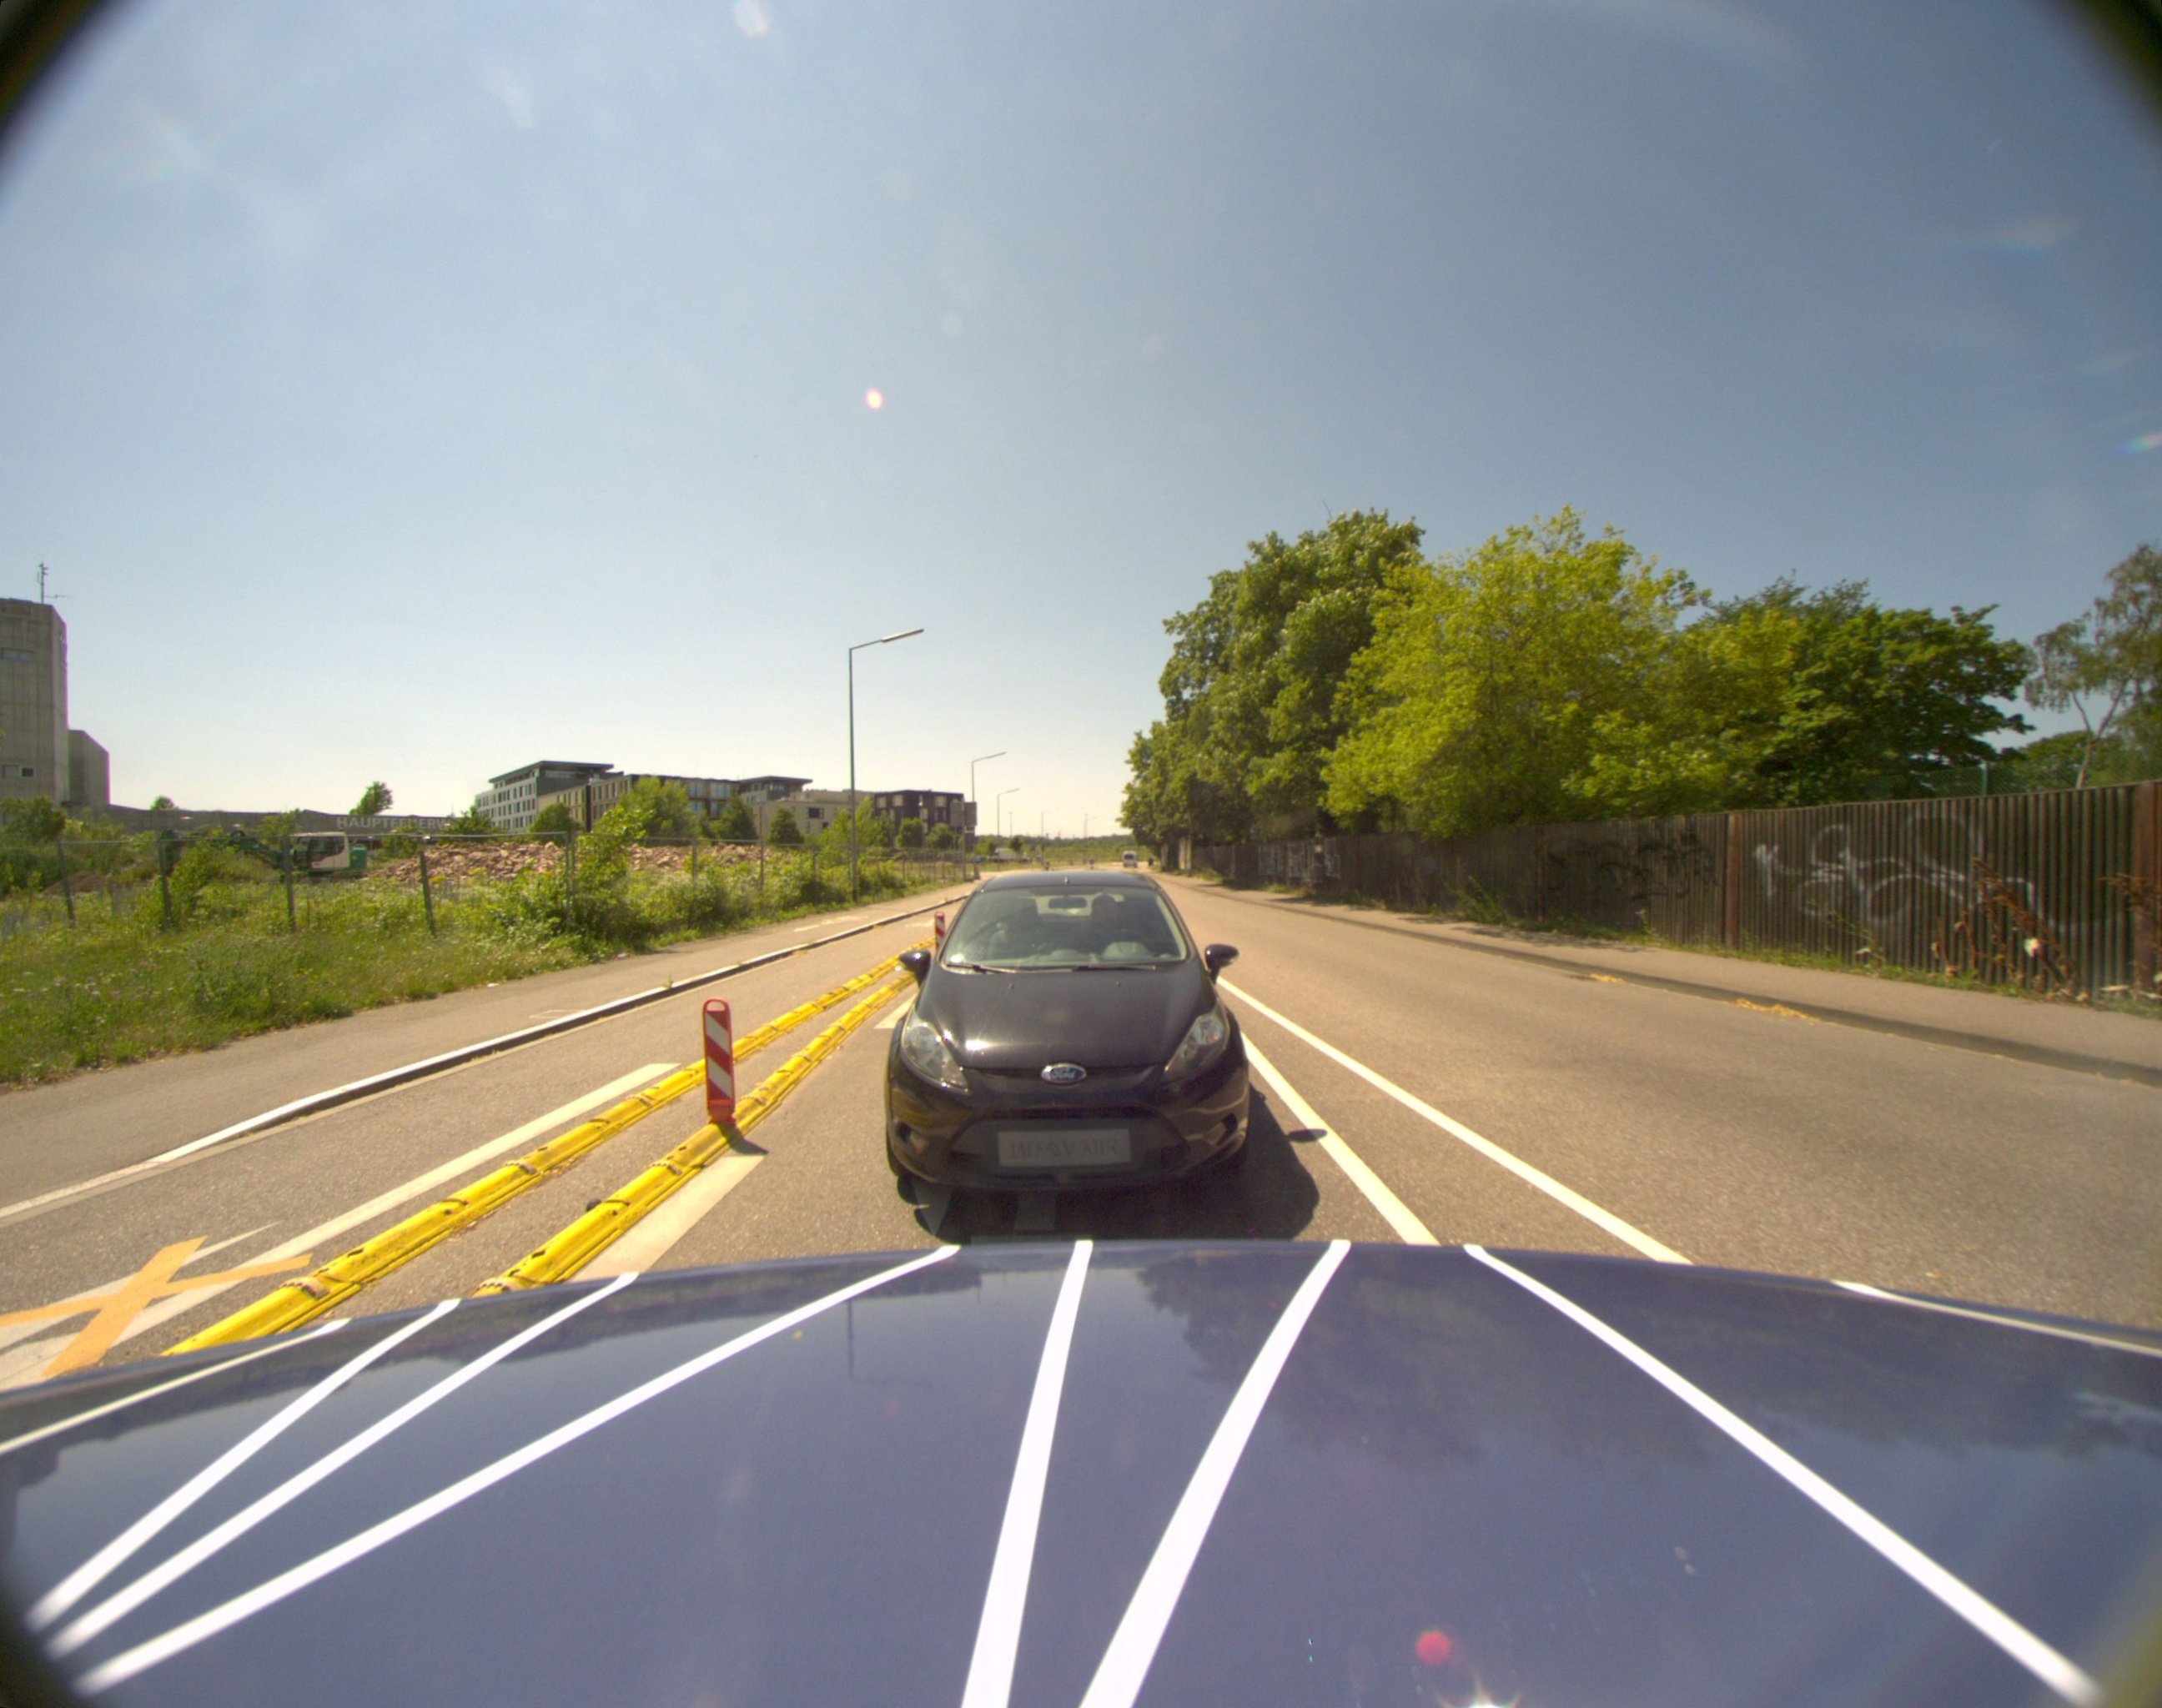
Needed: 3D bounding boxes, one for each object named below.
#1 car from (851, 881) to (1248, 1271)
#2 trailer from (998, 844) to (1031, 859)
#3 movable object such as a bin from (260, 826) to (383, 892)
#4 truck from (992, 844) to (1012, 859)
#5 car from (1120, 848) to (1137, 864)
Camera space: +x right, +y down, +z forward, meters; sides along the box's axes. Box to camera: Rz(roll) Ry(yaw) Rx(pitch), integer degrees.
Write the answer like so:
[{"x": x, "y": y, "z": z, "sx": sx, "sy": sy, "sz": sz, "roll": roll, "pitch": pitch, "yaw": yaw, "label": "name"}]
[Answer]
[{"x": -0.109, "y": 0.993, "z": 5.141, "sx": 1.602, "sy": 1.422, "sz": 4.000, "roll": -2, "pitch": 0, "yaw": 1, "label": "car"}, {"x": -15.131, "y": -0.653, "z": 174.453, "sx": 8.194, "sy": 3.329, "sz": 1.994, "roll": -1, "pitch": 0, "yaw": -45, "label": "trailer"}, {"x": -37.638, "y": 0.228, "z": 37.793, "sx": 2.204, "sy": 3.045, "sz": 3.690, "roll": -2, "pitch": 1, "yaw": 6, "label": "movable object such as a bin"}, {"x": -17.888, "y": -0.651, "z": 171.714, "sx": 4.008, "sy": 3.316, "sz": 1.994, "roll": -1, "pitch": 1, "yaw": -45, "label": "truck"}, {"x": 7.784, "y": 0.282, "z": 124.595, "sx": 2.025, "sy": 2.524, "sz": 6.825, "roll": 0, "pitch": 0, "yaw": -2, "label": "car"}]
